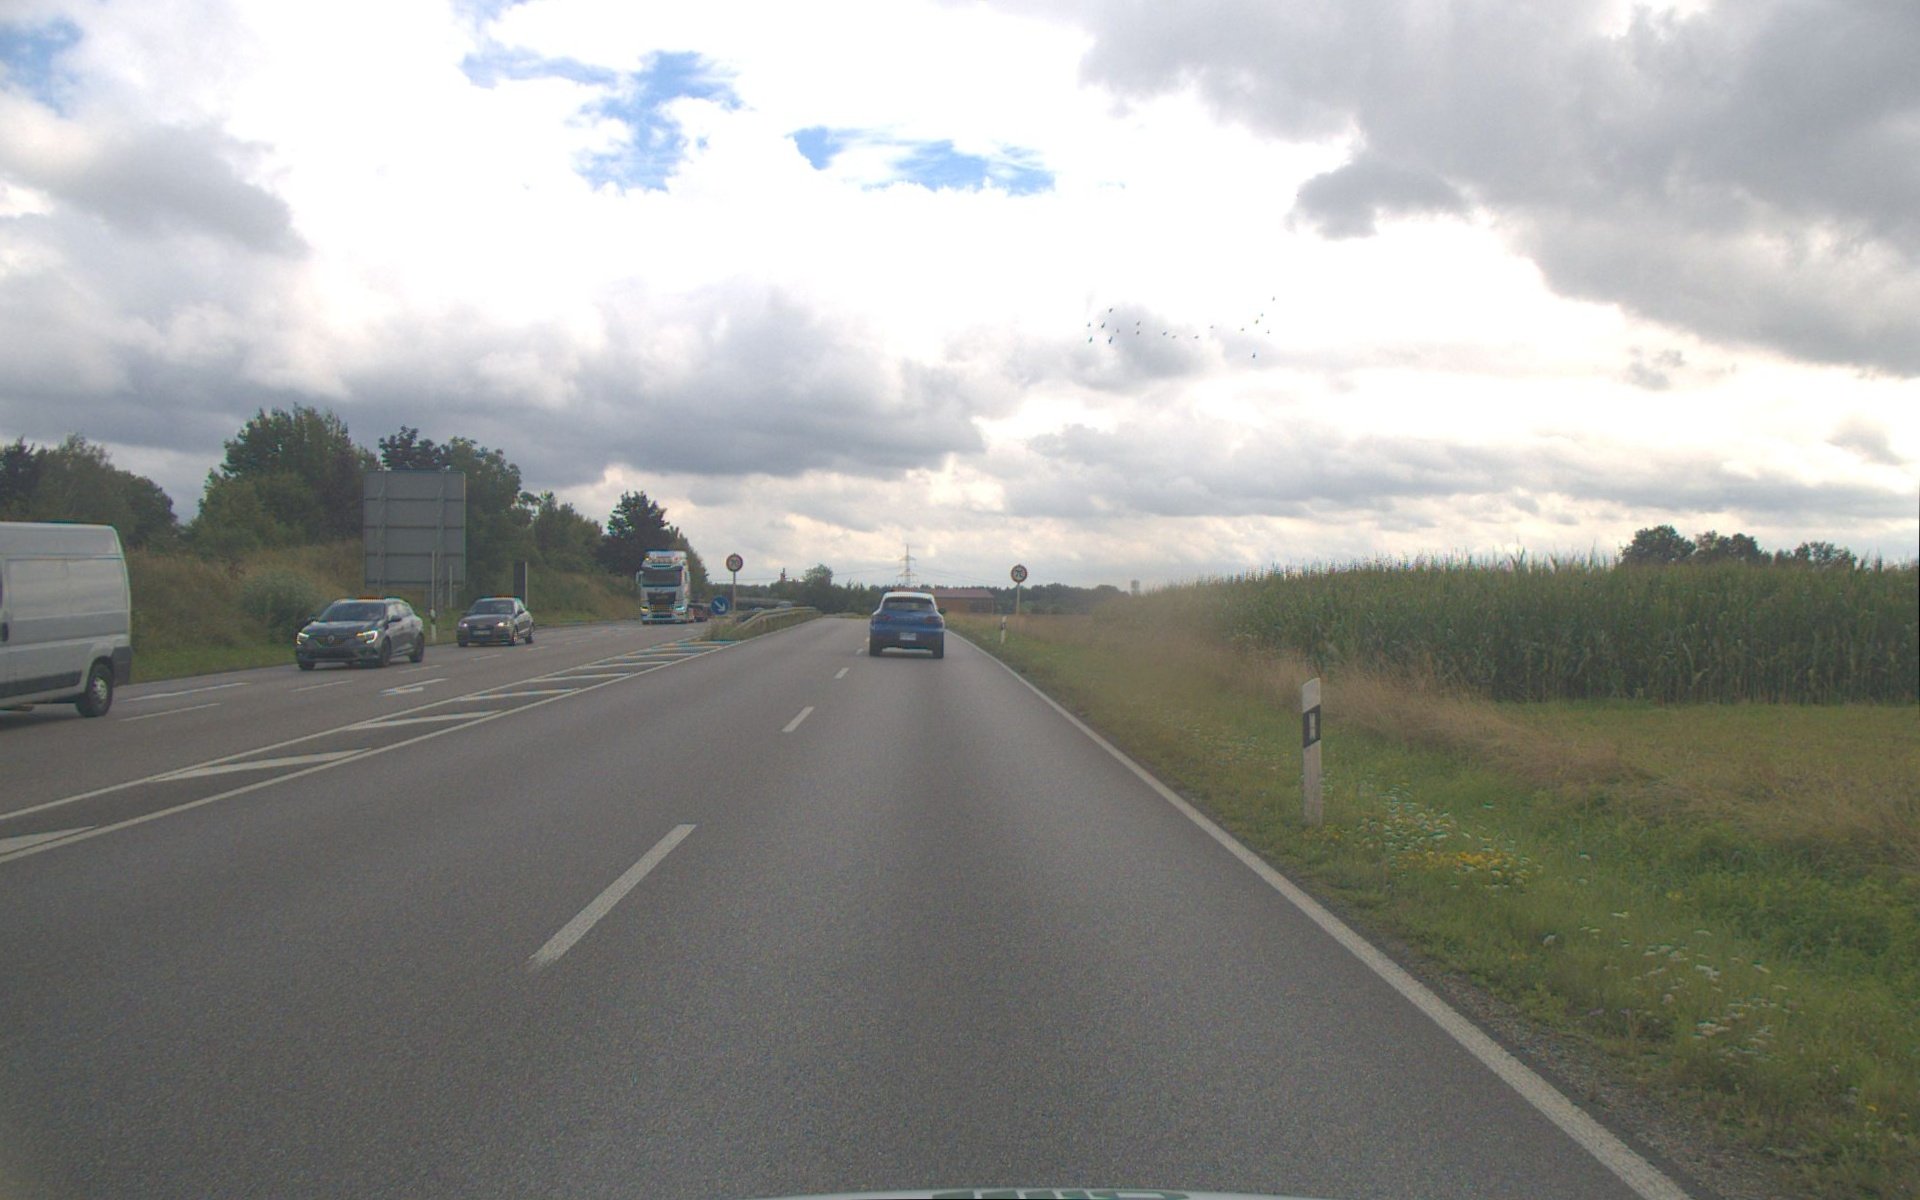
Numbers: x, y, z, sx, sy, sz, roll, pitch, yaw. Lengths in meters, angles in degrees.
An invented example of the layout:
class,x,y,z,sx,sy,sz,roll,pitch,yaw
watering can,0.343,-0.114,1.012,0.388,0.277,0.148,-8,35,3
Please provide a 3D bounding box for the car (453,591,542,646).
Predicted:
class,x,y,z,sx,sy,sz,roll,pitch,yaw
car,-13.905,0.521,49.932,1.698,1.556,4.191,-1,1,-3

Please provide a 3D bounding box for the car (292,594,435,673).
class,x,y,z,sx,sy,sz,roll,pitch,yaw
car,-12.998,0.684,36.316,1.698,1.556,4.546,-1,1,-3

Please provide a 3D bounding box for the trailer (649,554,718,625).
class,x,y,z,sx,sy,sz,roll,pitch,yaw
trailer,-16.509,-0.668,99.524,2.720,4.016,12.977,1,1,-3

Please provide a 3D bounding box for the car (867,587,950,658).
class,x,y,z,sx,sy,sz,roll,pitch,yaw
car,-1.394,0.551,42.985,1.993,1.689,4.540,2,0,-3

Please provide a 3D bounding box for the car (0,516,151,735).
class,x,y,z,sx,sy,sz,roll,pitch,yaw
car,-11.920,0.299,19.700,1.993,2.482,5.632,-1,1,-3

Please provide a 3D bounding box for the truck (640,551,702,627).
class,x,y,z,sx,sy,sz,roll,pitch,yaw
truck,-16.091,-0.635,92.291,2.747,4.067,5.283,1,1,-3
